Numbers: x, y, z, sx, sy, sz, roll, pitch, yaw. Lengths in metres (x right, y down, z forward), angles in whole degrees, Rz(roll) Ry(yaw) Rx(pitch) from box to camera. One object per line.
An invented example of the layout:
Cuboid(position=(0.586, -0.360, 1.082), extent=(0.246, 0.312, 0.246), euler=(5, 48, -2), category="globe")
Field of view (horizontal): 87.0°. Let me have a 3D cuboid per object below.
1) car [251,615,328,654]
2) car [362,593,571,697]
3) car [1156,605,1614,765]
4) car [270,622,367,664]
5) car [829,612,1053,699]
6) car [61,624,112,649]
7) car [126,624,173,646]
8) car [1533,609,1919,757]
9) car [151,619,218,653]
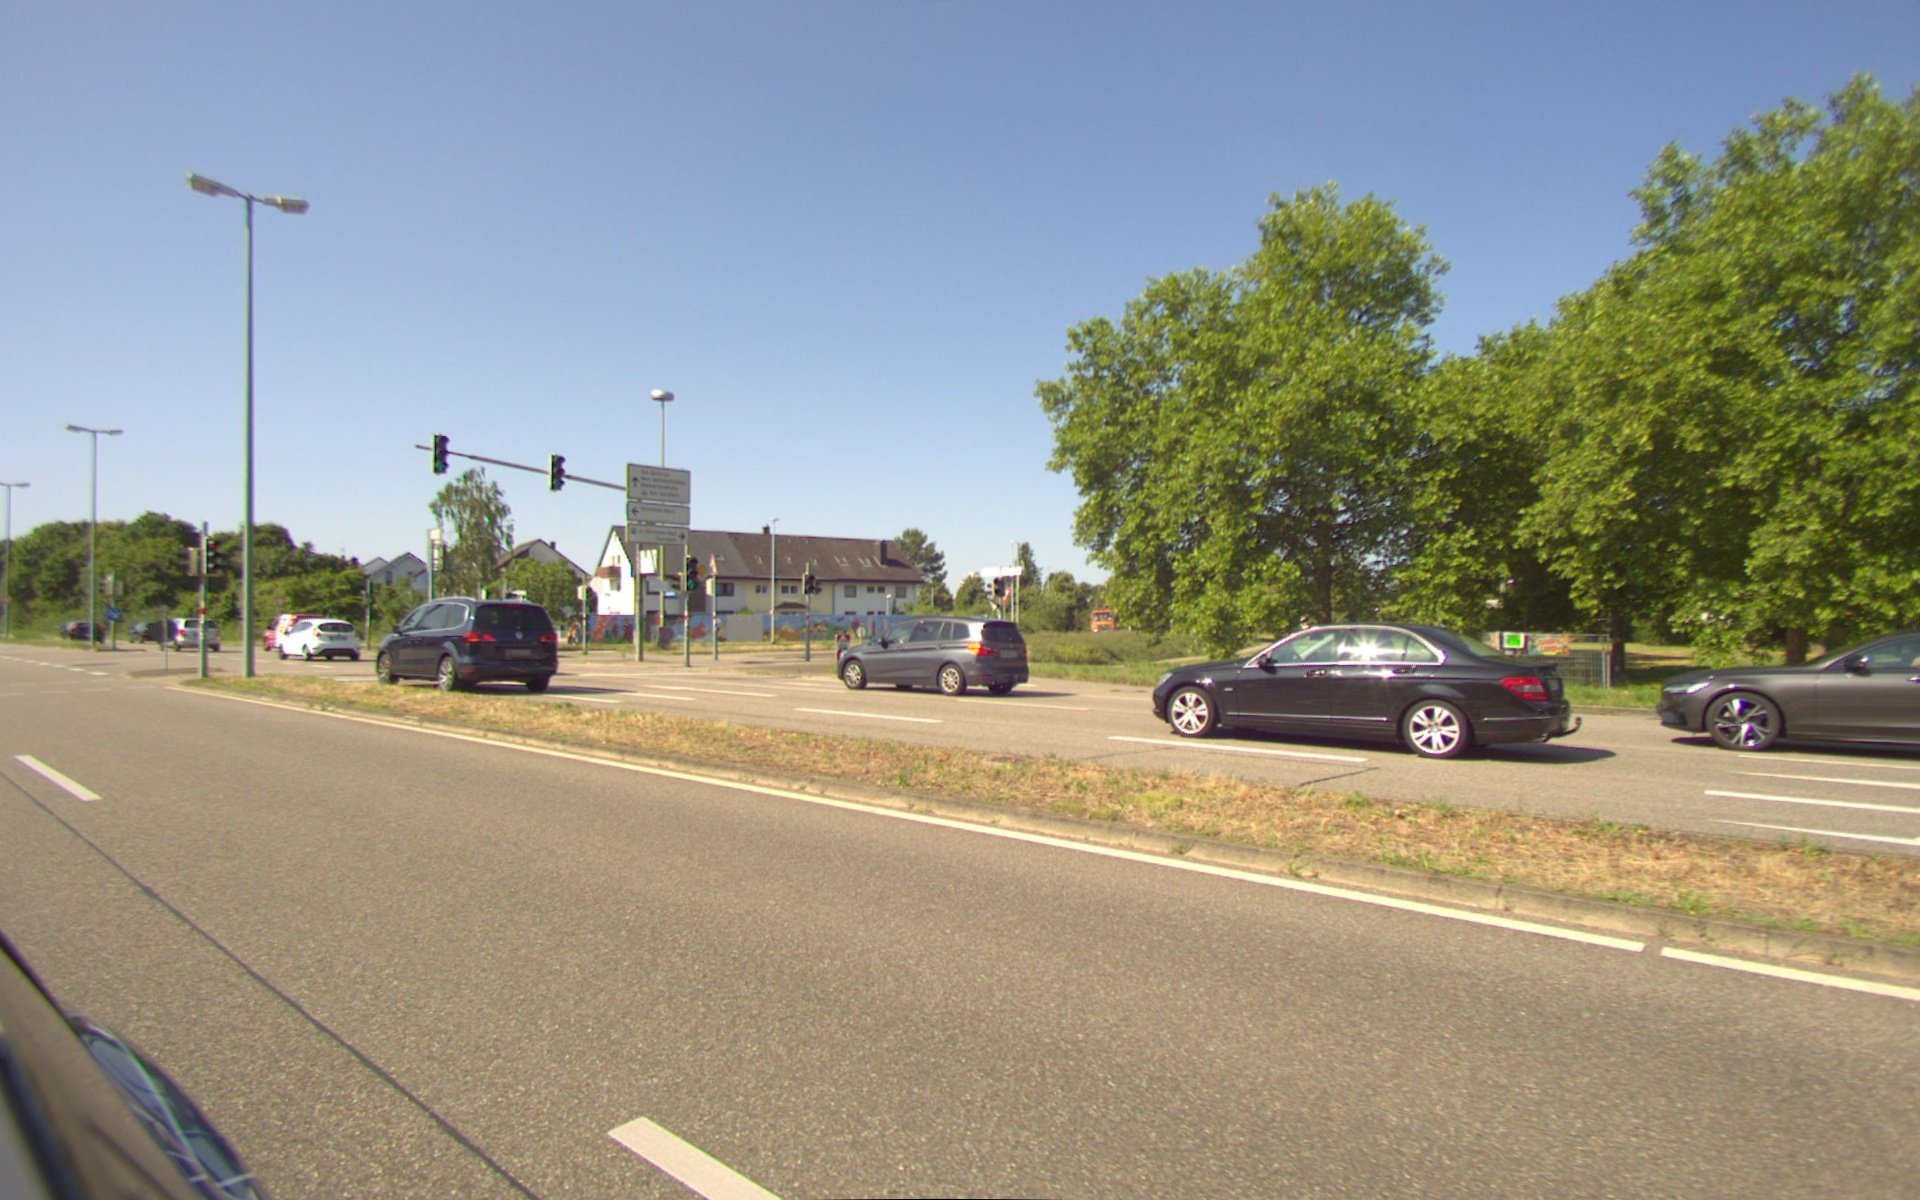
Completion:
Cuboid(position=(-31.590, 1.618, 47.659), extent=(4.222, 1.783, 1.688), euler=(-1, -3, 37), category="car")
Cuboid(position=(-9.501, 0.835, 19.340), extent=(4.505, 1.764, 1.960), euler=(-1, -3, 41), category="car")
Cuboid(position=(4.685, 0.873, 11.511), extent=(4.445, 1.468, 1.962), euler=(-1, -4, 39), category="car")
Cuboid(position=(-22.640, 1.475, 35.676), extent=(3.840, 1.397, 1.810), euler=(-1, -2, 40), category="car")
Cuboid(position=(-0.479, 1.121, 21.324), extent=(4.486, 1.635, 2.050), euler=(-1, -3, 40), category="car")
Cuboid(position=(-54.731, 2.258, 63.385), extent=(4.332, 1.468, 1.959), euler=(-1, -2, 43), category="car")
Cuboid(position=(-54.051, 2.306, 67.494), extent=(4.229, 1.468, 1.864), euler=(-1, -2, 43), category="car")
Cuboid(position=(9.726, 0.937, 12.145), extent=(4.681, 1.540, 2.050), euler=(-1, -4, 40), category="car")
Cuboid(position=(-34.878, 1.614, 45.487), extent=(3.868, 1.468, 1.602), euler=(-1, -2, 40), category="car")
